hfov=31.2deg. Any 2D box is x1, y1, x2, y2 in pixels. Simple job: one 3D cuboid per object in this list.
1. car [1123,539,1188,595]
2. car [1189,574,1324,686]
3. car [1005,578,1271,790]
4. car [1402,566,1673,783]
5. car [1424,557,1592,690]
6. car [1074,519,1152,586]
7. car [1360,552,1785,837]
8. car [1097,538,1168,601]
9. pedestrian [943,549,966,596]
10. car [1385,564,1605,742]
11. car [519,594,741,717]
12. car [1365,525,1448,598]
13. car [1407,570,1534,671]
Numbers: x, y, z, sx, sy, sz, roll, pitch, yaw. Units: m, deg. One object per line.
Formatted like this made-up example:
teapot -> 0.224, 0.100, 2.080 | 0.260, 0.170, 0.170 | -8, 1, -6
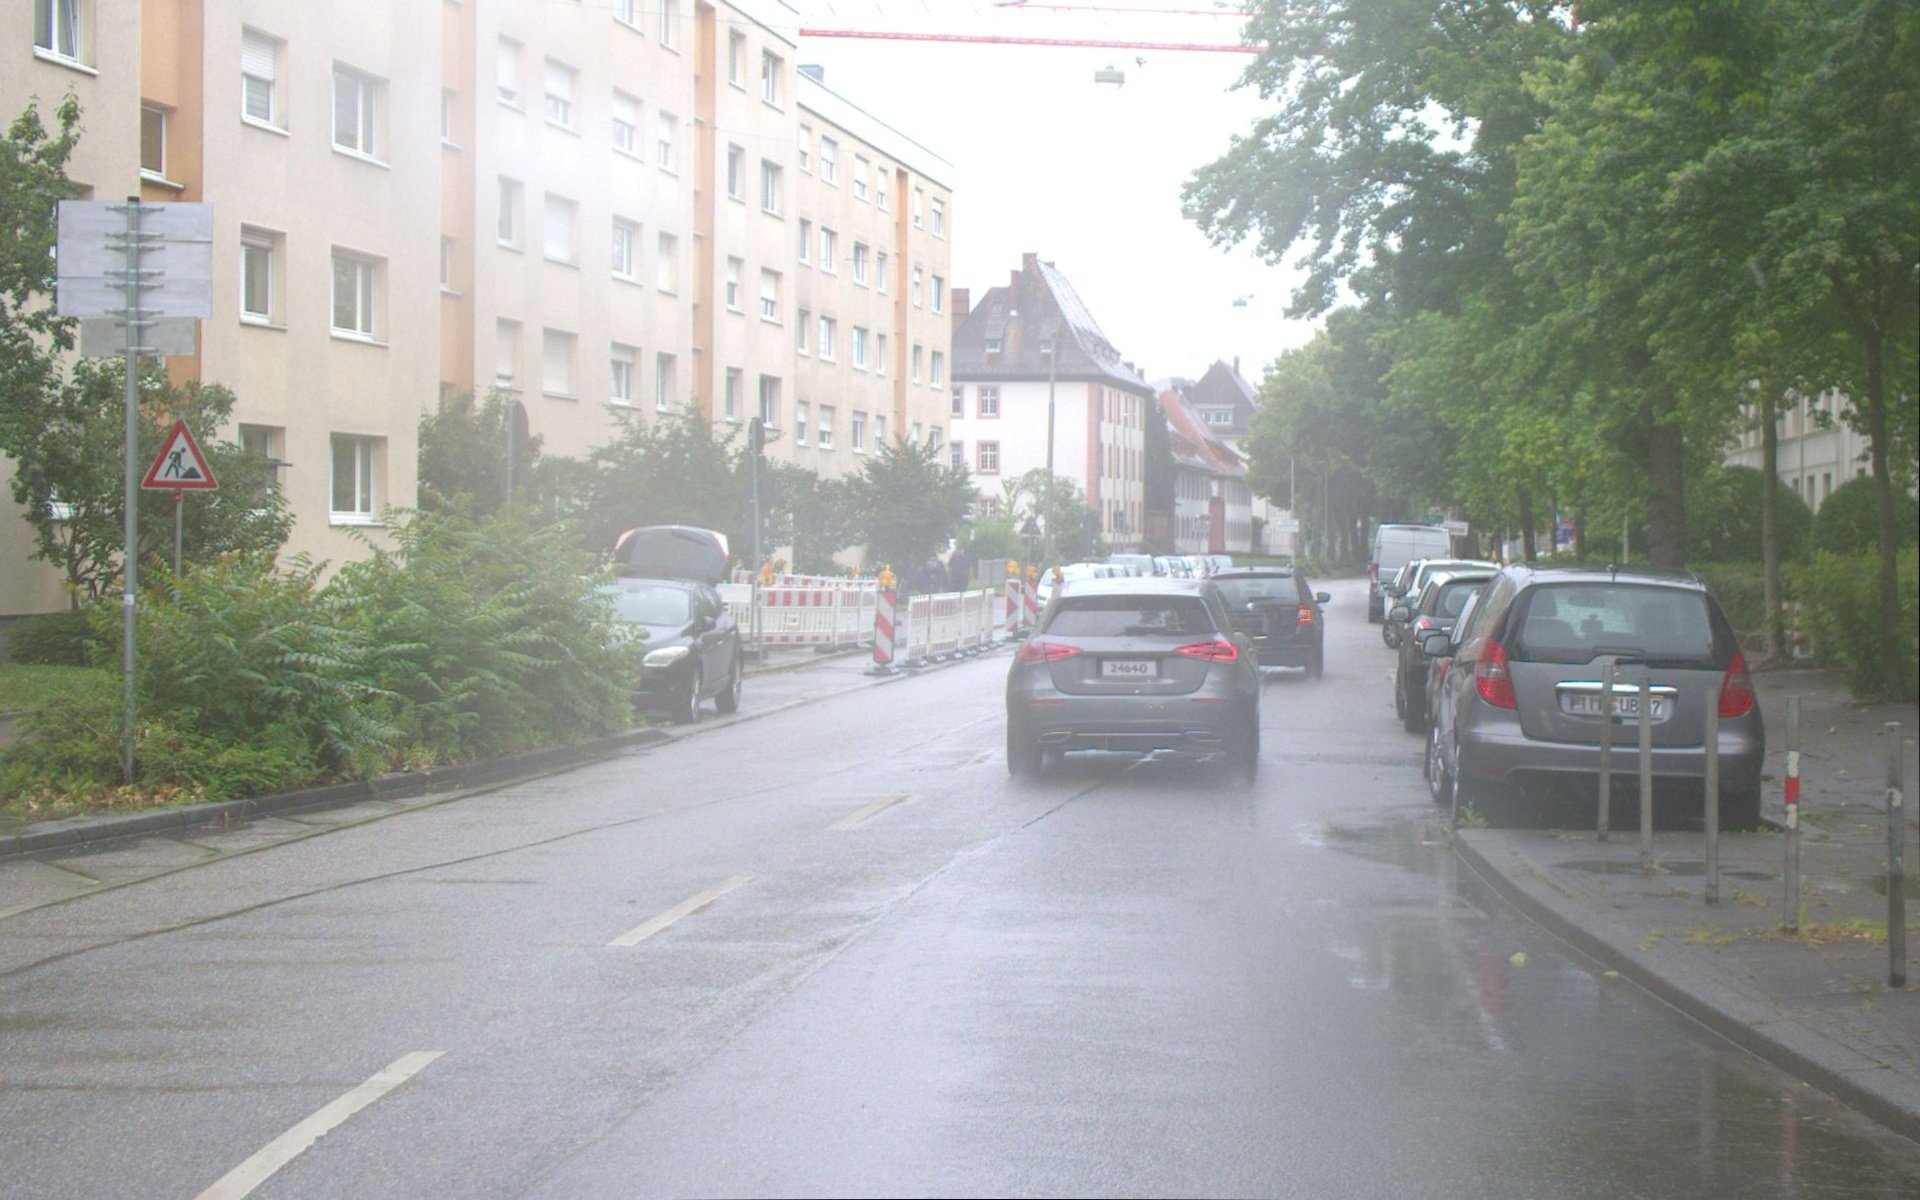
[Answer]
car -> 6.477, -1.090, 113.608 | 1.890, 1.830, 3.999 | 0, 1, 7
car -> 3.846, 0.362, 45.074 | 1.607, 1.368, 4.000 | 0, 1, 3
car -> 1.310, 0.567, 25.504 | 1.791, 1.368, 3.506 | 2, 1, 3
car -> 4.466, 0.524, 27.084 | 1.890, 1.568, 3.999 | 0, 1, 7
car -> 6.798, 0.263, 42.972 | 1.890, 1.568, 3.999 | 0, 1, 7
car -> 4.326, -1.324, 96.830 | 1.890, 1.830, 3.999 | 0, 1, 7
car -> 3.632, 0.506, 21.092 | 1.993, 1.568, 4.000 | 0, 0, 2
car -> 5.199, -0.912, 103.212 | 1.890, 1.830, 3.999 | 0, 1, 7
pedestrian -> -0.160, -0.814, 101.720 | 0.529, 1.352, 0.585 | 2, 0, 11
car -> 5.006, 0.453, 32.591 | 1.890, 1.568, 3.999 | 0, 1, 7
car -> -3.442, 0.558, 36.388 | 1.590, 1.202, 3.458 | 0, 1, 8
car -> 11.518, -1.003, 88.948 | 2.047, 1.830, 4.791 | 0, 1, 7
car -> 8.255, 0.298, 55.865 | 1.890, 1.568, 3.999 | 0, 1, 7
